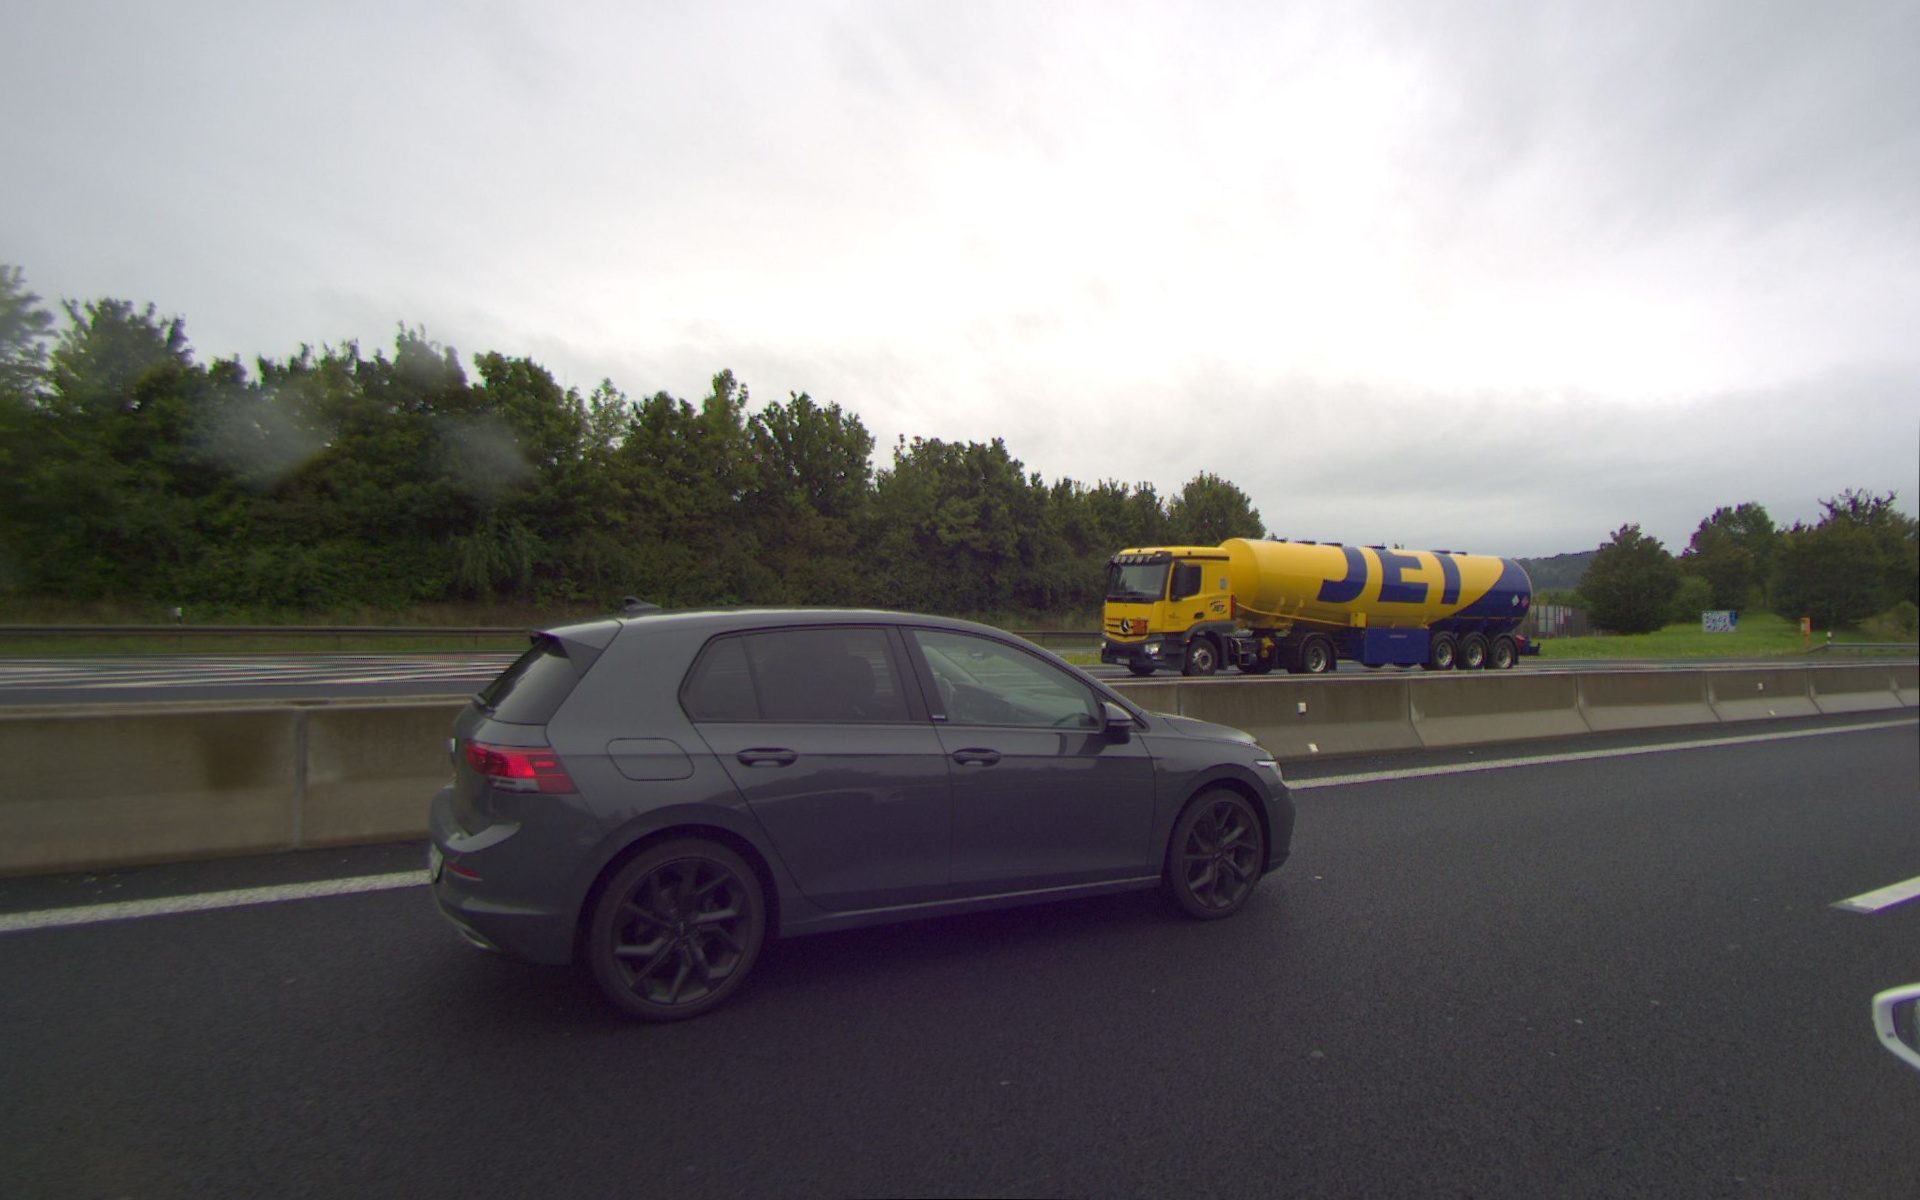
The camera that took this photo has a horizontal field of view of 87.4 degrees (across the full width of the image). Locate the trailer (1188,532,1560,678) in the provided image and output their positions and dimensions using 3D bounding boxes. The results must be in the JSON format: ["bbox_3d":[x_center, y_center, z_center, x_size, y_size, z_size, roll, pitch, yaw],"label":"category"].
[{"bbox_3d":[11.557,0.242,27.419,11.302,3.443,2.751,2,0,-28],"label":"trailer"}]

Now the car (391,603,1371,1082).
[{"bbox_3d":[-0.238,0.762,4.928,4.406,1.424,1.892,1,-1,-30],"label":"car"}]

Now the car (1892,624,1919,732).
[{"bbox_3d":[15.914,1.164,14.828,4.795,1.517,1.891,2,-1,-31],"label":"car"}]

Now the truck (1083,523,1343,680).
[{"bbox_3d":[6.214,0.090,24.615,5.772,3.443,2.751,2,0,-28],"label":"truck"}]
